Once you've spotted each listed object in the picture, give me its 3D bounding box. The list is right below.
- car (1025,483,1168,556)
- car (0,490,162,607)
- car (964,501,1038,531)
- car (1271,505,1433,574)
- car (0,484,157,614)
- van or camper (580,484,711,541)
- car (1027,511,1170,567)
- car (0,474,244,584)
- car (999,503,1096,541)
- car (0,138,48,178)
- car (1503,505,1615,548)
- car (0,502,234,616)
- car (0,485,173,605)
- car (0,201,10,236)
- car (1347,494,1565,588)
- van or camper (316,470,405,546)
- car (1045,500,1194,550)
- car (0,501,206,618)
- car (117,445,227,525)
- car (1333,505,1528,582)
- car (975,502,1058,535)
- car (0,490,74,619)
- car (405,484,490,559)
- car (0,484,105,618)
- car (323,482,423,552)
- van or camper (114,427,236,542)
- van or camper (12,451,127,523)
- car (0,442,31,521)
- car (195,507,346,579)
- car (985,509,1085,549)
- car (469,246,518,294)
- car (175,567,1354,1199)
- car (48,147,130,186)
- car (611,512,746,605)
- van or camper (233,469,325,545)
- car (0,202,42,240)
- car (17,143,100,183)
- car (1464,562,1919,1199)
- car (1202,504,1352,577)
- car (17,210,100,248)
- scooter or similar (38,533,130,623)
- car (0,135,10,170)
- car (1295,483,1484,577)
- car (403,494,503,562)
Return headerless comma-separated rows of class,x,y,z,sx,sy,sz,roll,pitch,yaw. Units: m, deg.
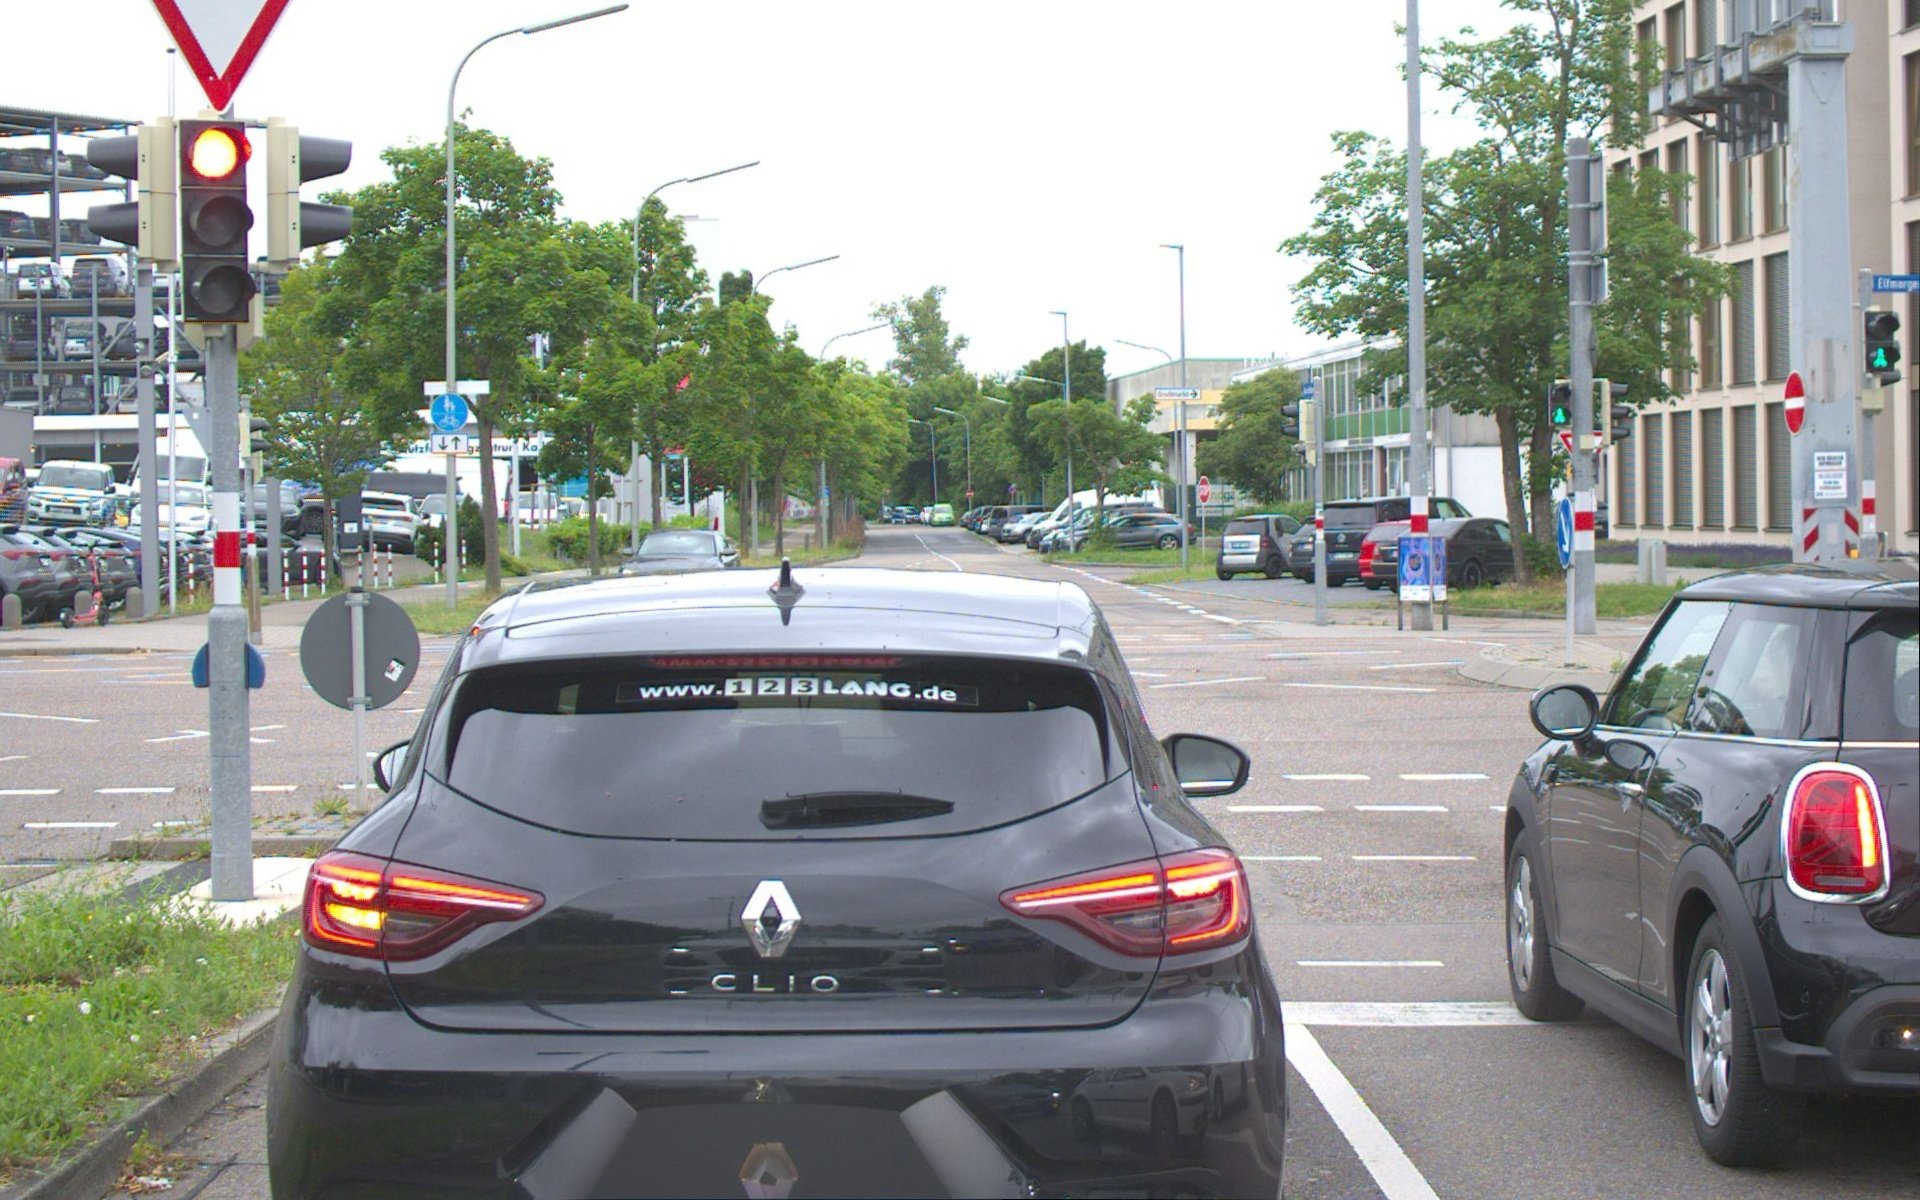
car,6.002,-3.549,151.357,6.116,3.105,2.134,1,0,-1
car,-16.423,-0.822,59.164,4.945,1.870,2.054,-3,1,-6
car,2.738,-5.609,229.842,4.785,1.885,2.144,1,0,-2
car,8.863,-1.373,77.625,1.696,1.506,3.808,0,1,43
car,-15.970,-0.778,56.536,5.022,2.007,2.266,-3,1,-5
van or camper,-13.858,-3.849,151.651,5.598,2.363,2.000,1,0,-1
car,5.180,-2.291,128.958,5.173,2.007,2.144,1,0,-2
car,-17.218,-1.443,70.008,4.892,2.007,2.000,-3,1,-5
car,4.440,-3.971,175.533,4.785,1.885,2.144,1,0,-2
car,-48.917,-22.640,176.225,3.994,1.661,1.997,1,2,32
car,19.322,-2.363,110.921,3.229,1.328,1.486,1,1,-19
car,-16.830,-0.788,67.195,4.892,2.007,2.000,-3,1,-5
car,-16.703,-0.935,61.655,4.772,2.007,2.000,-3,1,-6
car,-50.287,-19.296,174.143,3.994,1.661,1.997,1,2,32
car,9.631,-1.138,66.635,4.121,1.762,1.888,-1,1,-40
van or camper,-16.515,-2.515,94.838,1.993,2.007,4.001,1,1,-4
car,5.711,-2.682,123.557,5.173,1.714,2.144,1,0,-2
car,-16.798,-0.730,64.475,4.892,2.007,2.000,-3,1,-5
car,-19.083,-2.771,83.416,1.993,1.817,4.001,1,1,-4
car,9.750,-1.172,71.023,1.887,1.546,4.123,0,1,45
car,3.560,-5.179,218.607,5.173,2.007,2.144,1,0,-1
car,-15.781,-0.581,50.960,4.771,1.856,2.000,-3,1,-5
car,-14.147,-2.155,95.047,1.993,2.007,4.001,1,1,-4
car,-15.915,-0.686,53.529,4.700,2.007,2.000,-3,1,-4
car,-14.213,-2.003,83.458,1.993,1.612,4.001,1,1,-4
van or camper,-21.561,-3.127,94.647,2.535,3.016,4.844,1,1,-4
van or camper,-21.550,-2.716,83.290,1.993,1.645,4.001,1,1,-4
car,-24.004,-2.869,83.527,1.993,1.842,4.001,1,1,-4
car,-19.797,-1.625,98.896,3.986,2.007,2.000,1,0,-3
car,3.958,-3.747,182.145,5.173,2.007,2.144,1,0,-1
car,-21.494,-15.212,158.654,1.993,1.876,4.001,-1,1,-5
car,-0.320,0.660,7.164,1.757,1.430,4.000,1,1,-1
car,-45.981,-22.868,181.521,3.994,1.661,1.997,1,2,32
car,-4.944,-0.764,60.930,1.978,1.546,4.614,-1,2,0
van or camper,-18.713,-2.544,94.645,1.993,2.007,4.001,1,1,-4
car,-49.193,-19.381,176.099,3.994,1.661,1.997,1,2,32
car,-47.078,-22.815,179.577,3.994,1.661,1.997,1,2,32
car,2.540,0.617,9.217,1.786,1.411,3.643,1,1,-1
car,7.750,-1.438,83.938,3.424,1.726,1.765,0,1,-42
car,-47.060,-19.340,179.452,3.994,1.661,1.997,1,2,32
scooter or similar,-12.299,-0.321,48.295,0.557,1.214,1.559,2,2,13
car,-50.308,-22.642,174.116,3.994,1.661,1.997,1,2,32
car,9.293,-1.495,74.220,1.998,1.959,4.235,0,1,41
car,-12.401,-1.751,84.327,1.993,1.612,4.000,1,1,-2
